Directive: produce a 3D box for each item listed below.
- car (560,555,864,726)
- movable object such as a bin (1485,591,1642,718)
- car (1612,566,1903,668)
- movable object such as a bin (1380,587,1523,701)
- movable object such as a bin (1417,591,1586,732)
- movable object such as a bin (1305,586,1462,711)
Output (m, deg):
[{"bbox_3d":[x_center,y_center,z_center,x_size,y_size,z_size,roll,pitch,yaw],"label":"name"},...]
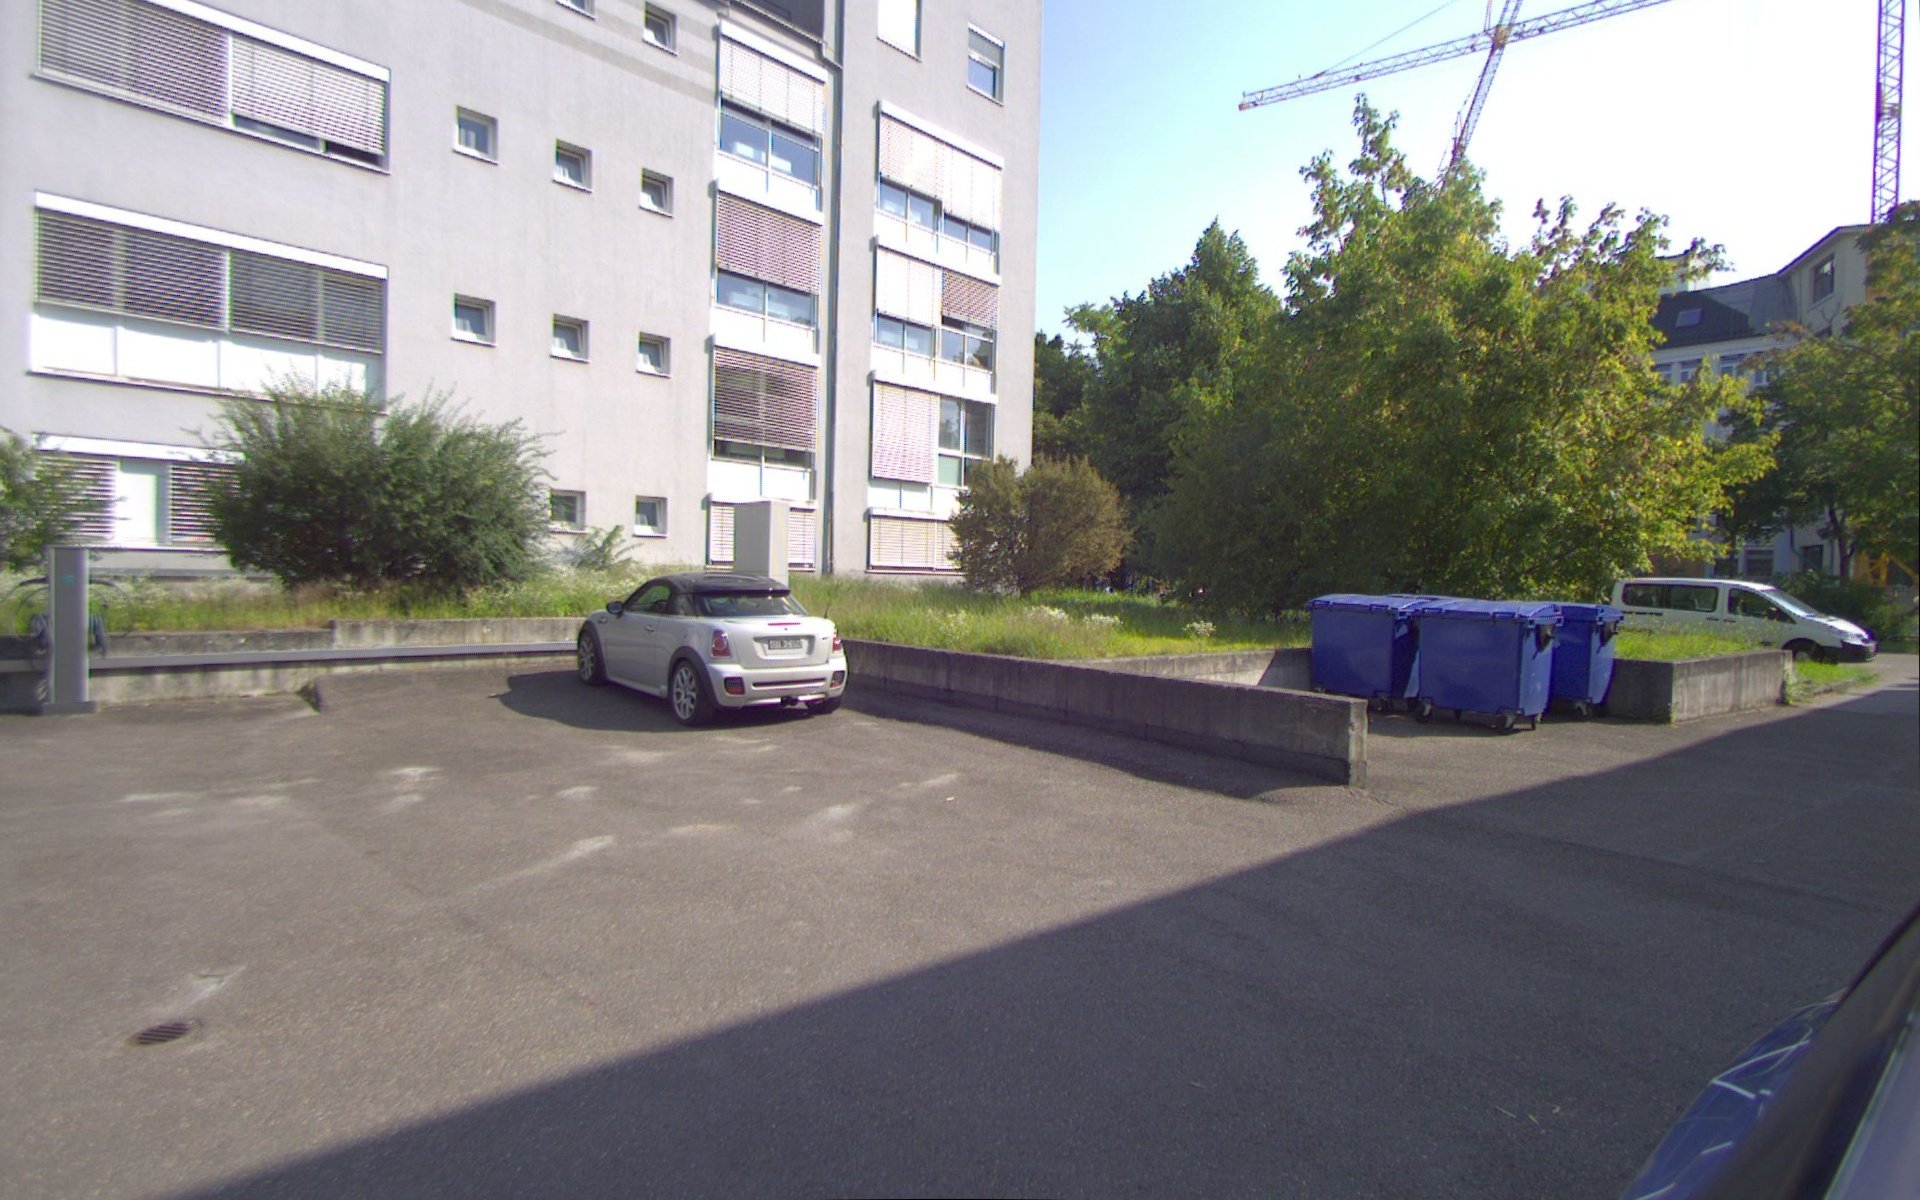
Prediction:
[{"bbox_3d":[-2.753,0.297,10.751,1.630,1.455,3.576,1,2,-42],"label":"car"},{"bbox_3d":[7.070,0.590,11.866,1.252,1.344,1.200,1,1,-39],"label":"movable object such as a bin"},{"bbox_3d":[17.760,0.283,22.792,1.873,1.955,4.793,1,2,-37],"label":"car"},{"bbox_3d":[6.310,0.522,13.005,1.252,1.344,1.200,1,1,-39],"label":"movable object such as a bin"},{"bbox_3d":[5.839,0.611,10.923,1.253,1.368,1.213,0,1,-41],"label":"movable object such as a bin"},{"bbox_3d":[5.024,0.526,12.028,1.252,1.344,1.257,1,1,-38],"label":"movable object such as a bin"}]
